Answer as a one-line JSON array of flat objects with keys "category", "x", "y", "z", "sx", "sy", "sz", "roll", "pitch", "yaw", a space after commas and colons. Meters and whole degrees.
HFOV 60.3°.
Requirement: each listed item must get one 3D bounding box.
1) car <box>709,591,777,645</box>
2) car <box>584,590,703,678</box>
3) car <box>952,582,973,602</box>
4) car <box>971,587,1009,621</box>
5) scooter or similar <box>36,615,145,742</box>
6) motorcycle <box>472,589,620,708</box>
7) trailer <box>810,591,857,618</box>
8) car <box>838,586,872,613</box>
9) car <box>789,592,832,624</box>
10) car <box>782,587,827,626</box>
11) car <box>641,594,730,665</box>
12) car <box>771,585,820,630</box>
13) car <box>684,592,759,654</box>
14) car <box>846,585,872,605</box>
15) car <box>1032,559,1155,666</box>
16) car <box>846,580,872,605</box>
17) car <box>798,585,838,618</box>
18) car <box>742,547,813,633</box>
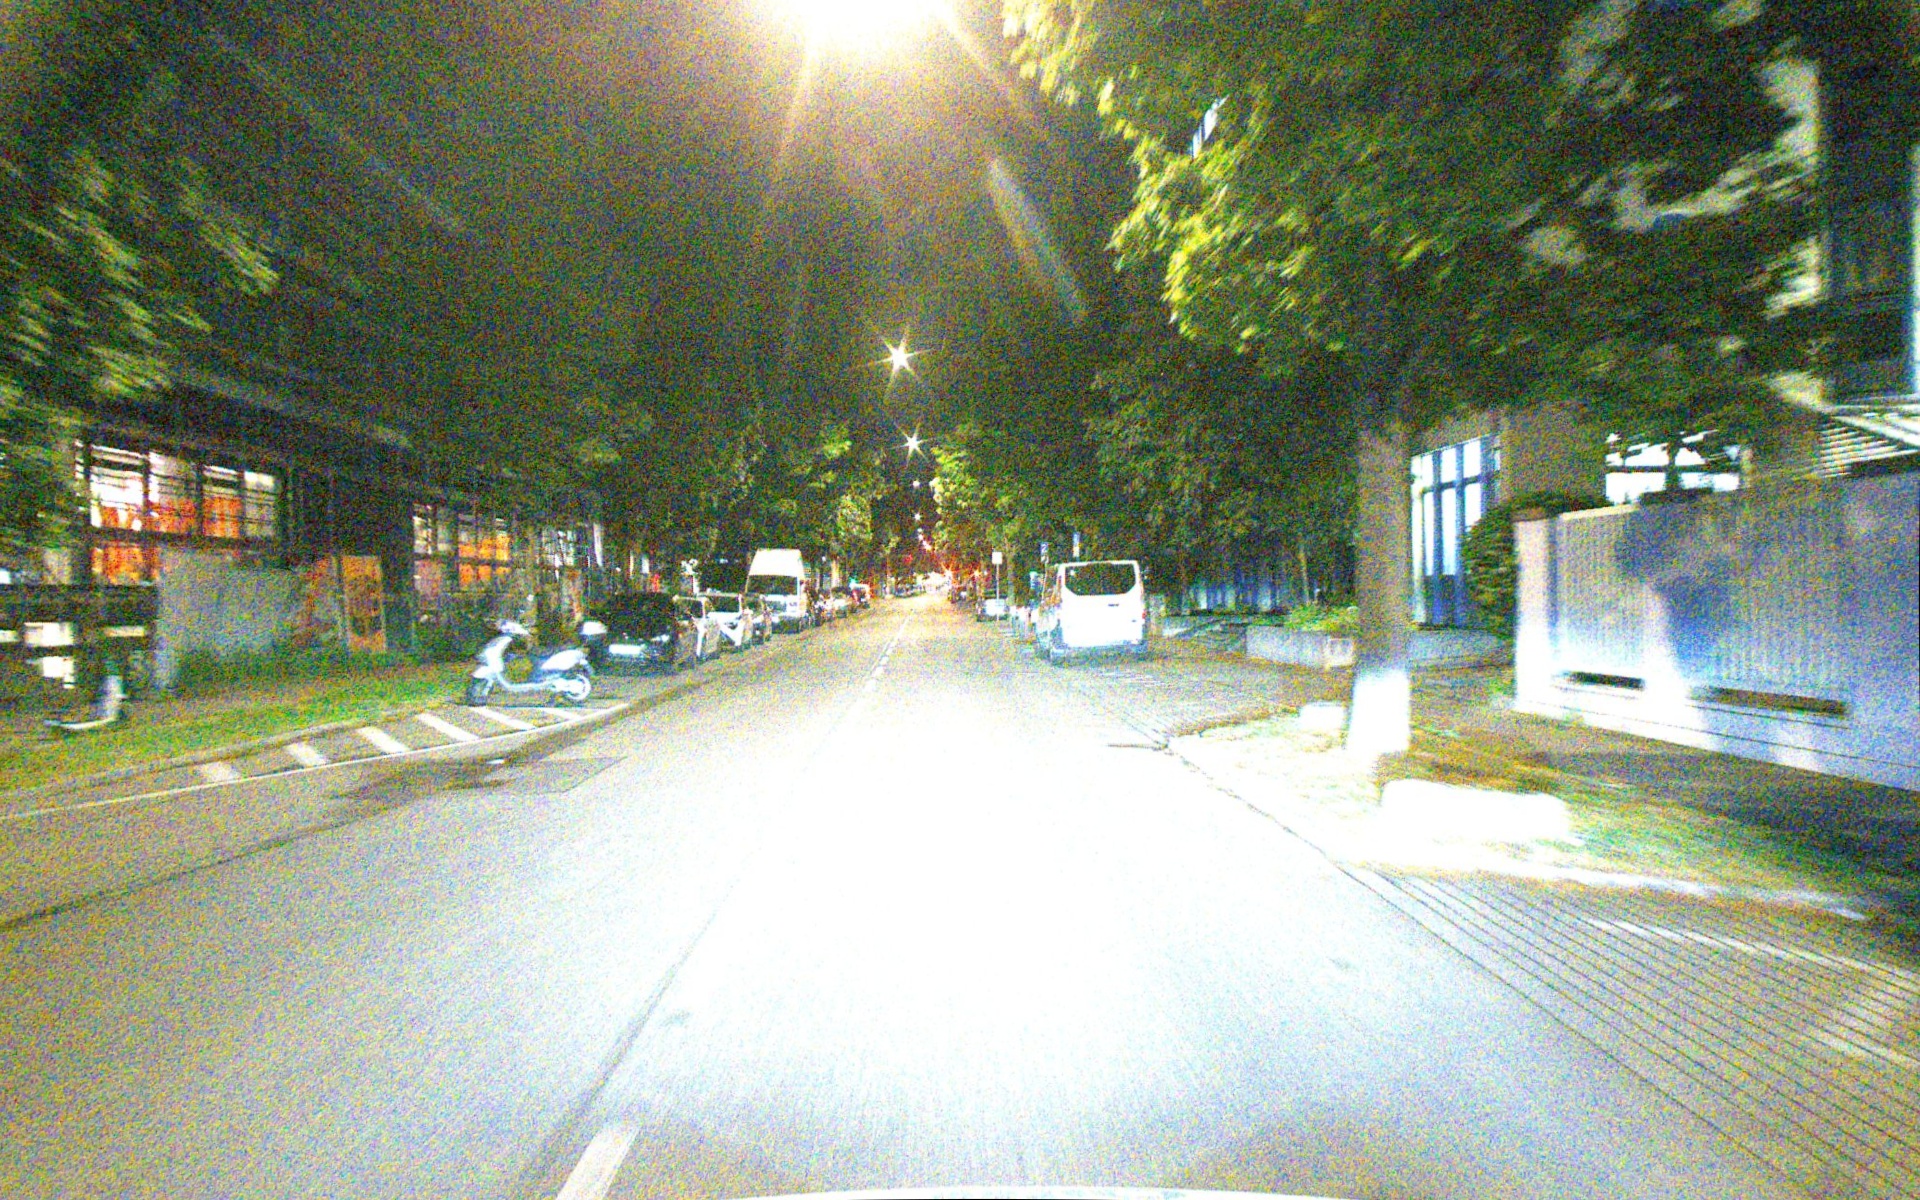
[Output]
[{"category": "car", "x": -6.364, "y": 0.505, "z": 48.802, "sx": 1.612, "sy": 1.531, "sz": 3.859, "roll": 1, "pitch": 0, "yaw": -2}, {"category": "car", "x": -6.019, "y": 0.604, "z": 31.821, "sx": 1.609, "sy": 1.531, "sz": 3.902, "roll": 2, "pitch": 0, "yaw": -2}, {"category": "car", "x": 0.173, "y": -0.706, "z": 146.707, "sx": 1.815, "sy": 1.683, "sz": 4.208, "roll": 0, "pitch": 0, "yaw": -1}, {"category": "car", "x": 1.390, "y": 0.153, "z": 76.173, "sx": 1.634, "sy": 1.454, "sz": 4.148, "roll": -2, "pitch": 0, "yaw": 1}, {"category": "scooter or similar", "x": -8.823, "y": 0.772, "z": 16.830, "sx": 0.359, "sy": 1.225, "sz": 1.427, "roll": -1, "pitch": 0, "yaw": -1}, {"category": "motorcycle", "x": -5.633, "y": 0.661, "z": 22.498, "sx": 1.874, "sy": 1.577, "sz": 0.635, "roll": 1, "pitch": 0, "yaw": -21}, {"category": "trailer", "x": -6.758, "y": 0.232, "z": 89.026, "sx": 2.067, "sy": 1.358, "sz": 5.435, "roll": 2, "pitch": 0, "yaw": 0}, {"category": "car", "x": -6.569, "y": -0.046, "z": 104.011, "sx": 1.785, "sy": 1.626, "sz": 4.073, "roll": 3, "pitch": 0, "yaw": 0}, {"category": "car", "x": -6.876, "y": 0.343, "z": 76.298, "sx": 1.670, "sy": 1.436, "sz": 4.632, "roll": 0, "pitch": 0, "yaw": -2}, {"category": "car", "x": -6.638, "y": 0.245, "z": 70.842, "sx": 1.707, "sy": 1.634, "sz": 4.296, "roll": 0, "pitch": 0, "yaw": -3}, {"category": "car", "x": -6.075, "y": 0.617, "z": 36.929, "sx": 1.415, "sy": 1.454, "sz": 3.902, "roll": 2, "pitch": 0, "yaw": -2}, {"category": "car", "x": -6.442, "y": 0.261, "z": 65.131, "sx": 1.707, "sy": 1.634, "sz": 4.114, "roll": -1, "pitch": 1, "yaw": -3}, {"category": "car", "x": -6.122, "y": 0.562, "z": 42.727, "sx": 1.516, "sy": 1.480, "sz": 3.367, "roll": 1, "pitch": 0, "yaw": -2}, {"category": "car", "x": -7.668, "y": -0.375, "z": 126.022, "sx": 1.665, "sy": 1.458, "sz": 3.828, "roll": 3, "pitch": 0, "yaw": 0}, {"category": "car", "x": 2.664, "y": 0.218, "z": 34.068, "sx": 1.912, "sy": 1.998, "sz": 4.601, "roll": -2, "pitch": 0, "yaw": -3}, {"category": "car", "x": -8.082, "y": -0.605, "z": 132.566, "sx": 1.785, "sy": 1.843, "sz": 4.210, "roll": 3, "pitch": 0, "yaw": 0}, {"category": "car", "x": -6.949, "y": 0.059, "z": 81.294, "sx": 1.682, "sy": 1.528, "sz": 4.204, "roll": 2, "pitch": 0, "yaw": -2}, {"category": "car", "x": -6.528, "y": -0.361, "z": 59.754, "sx": 2.135, "sy": 2.960, "sz": 4.908, "roll": 1, "pitch": 0, "yaw": -2}]
